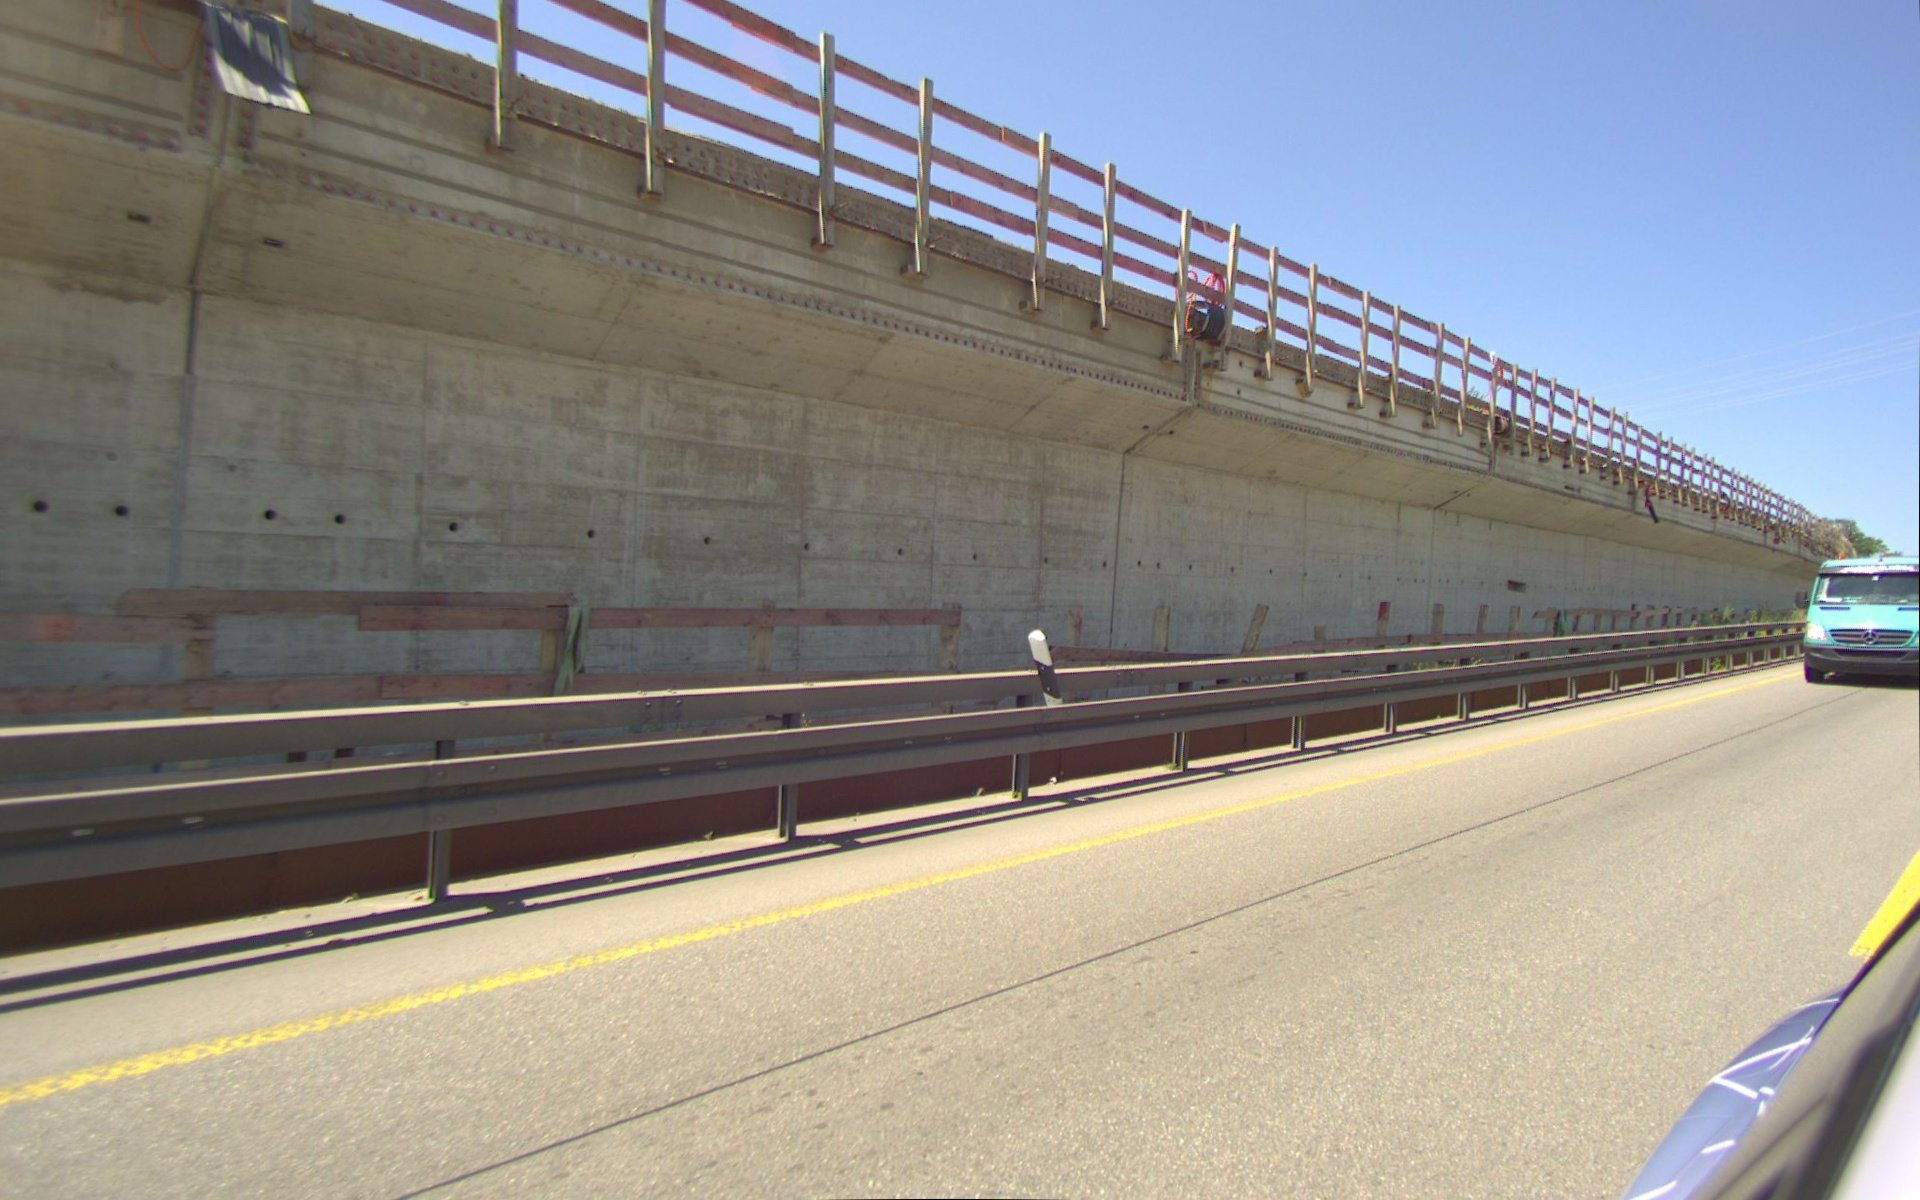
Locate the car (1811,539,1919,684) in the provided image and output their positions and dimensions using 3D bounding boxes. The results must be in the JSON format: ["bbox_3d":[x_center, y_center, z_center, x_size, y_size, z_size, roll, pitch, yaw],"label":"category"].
[{"bbox_3d":[18.249,0.172,19.467,7.087,2.411,1.966,0,1,-42],"label":"car"}]

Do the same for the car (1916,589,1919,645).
[{"bbox_3d":[31.190,0.498,31.472,3.932,1.681,1.857,-1,0,-43],"label":"car"}]
